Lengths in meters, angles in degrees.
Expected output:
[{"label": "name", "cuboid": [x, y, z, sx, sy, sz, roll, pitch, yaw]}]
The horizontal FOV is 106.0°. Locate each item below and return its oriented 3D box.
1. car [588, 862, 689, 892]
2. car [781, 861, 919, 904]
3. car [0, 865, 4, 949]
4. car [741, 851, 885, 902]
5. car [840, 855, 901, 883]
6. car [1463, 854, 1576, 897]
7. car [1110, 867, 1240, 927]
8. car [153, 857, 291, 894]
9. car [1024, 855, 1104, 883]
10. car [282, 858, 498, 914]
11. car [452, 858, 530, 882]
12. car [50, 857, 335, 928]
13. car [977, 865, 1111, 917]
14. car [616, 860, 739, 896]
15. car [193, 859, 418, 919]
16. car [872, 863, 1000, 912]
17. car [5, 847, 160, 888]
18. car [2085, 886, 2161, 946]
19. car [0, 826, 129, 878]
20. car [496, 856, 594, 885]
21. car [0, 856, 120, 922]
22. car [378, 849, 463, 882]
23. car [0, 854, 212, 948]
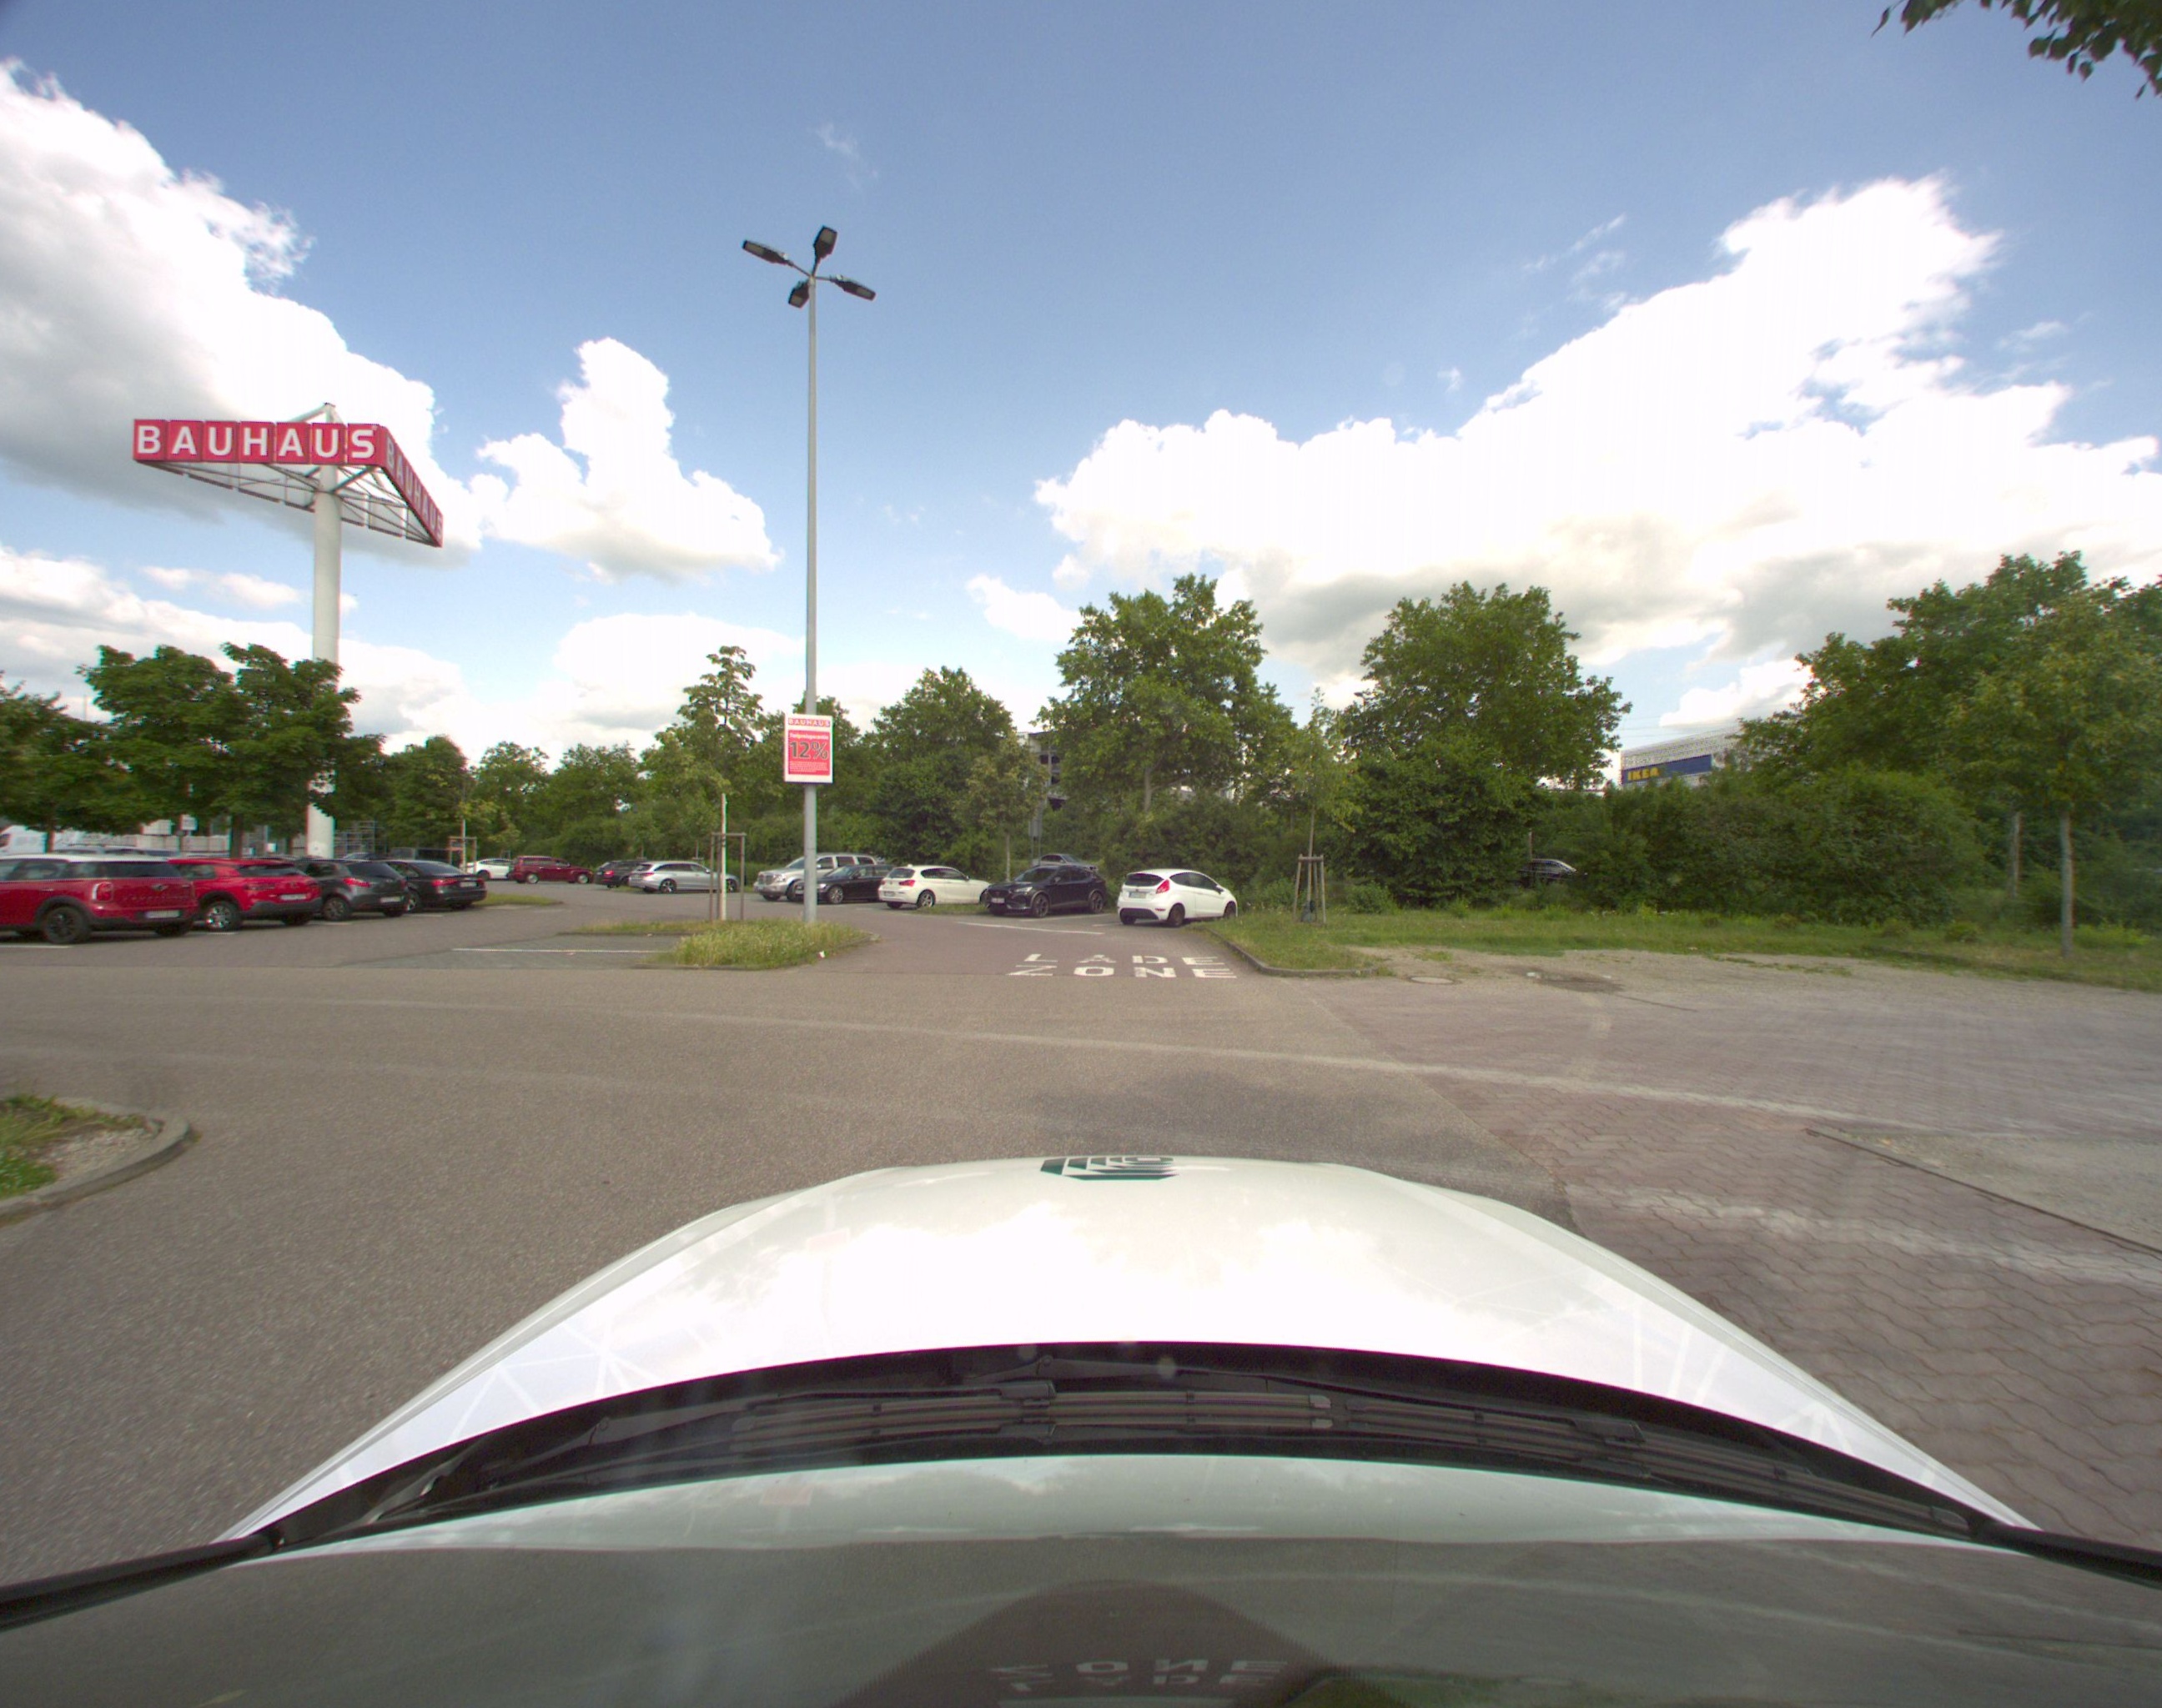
[{"label": "car", "cuboid": [-21.727, 1.180, 40.091, 1.677, 1.381, 4.025, -2, -3, 36]}, {"label": "car", "cuboid": [-8.487, 0.989, 30.247, 1.816, 1.451, 4.754, 0, 0, 38]}, {"label": "car", "cuboid": [-19.583, 0.848, 12.468, 3.858, 1.369, 1.729, 0, 0, 0]}, {"label": "car", "cuboid": [-10.403, 0.816, 31.991, 1.965, 1.842, 5.180, 0, 0, 36]}, {"label": "car", "cuboid": [-15.842, 1.127, 61.156, 4.438, 2.014, 1.930, -1, -3, 34]}, {"label": "car", "cuboid": [18.408, 0.861, 34.222, 3.948, 1.715, 2.013, 0, 0, 35]}, {"label": "car", "cuboid": [2.541, 1.060, 21.508, 1.649, 1.411, 3.579, 0, 0, 42]}, {"label": "car", "cuboid": [-35.266, 0.851, 33.513, 3.750, 1.446, 1.724, 1, 0, -2]}, {"label": "car", "cuboid": [-1.063, 0.876, 49.601, 4.682, 1.589, 1.759, 0, 0, 34]}, {"label": "car", "cuboid": [-18.884, 0.850, 22.371, 4.506, 1.433, 1.774, 0, -1, 4]}, {"label": "car", "cuboid": [-37.297, 1.034, 51.543, 1.613, 1.468, 3.667, -2, -2, 37]}, {"label": "car", "cuboid": [-18.674, 0.781, 17.251, 4.061, 1.399, 1.767, 0, 0, 0]}, {"label": "car", "cuboid": [-1.038, 1.044, 24.709, 1.711, 1.410, 4.269, 0, 0, 37]}, {"label": "car", "cuboid": [-18.206, 1.055, 36.918, 1.762, 1.504, 4.684, 0, 0, 37]}, {"label": "car", "cuboid": [-18.646, 0.812, 19.681, 3.971, 1.369, 1.580, 0, 0, 2]}, {"label": "car", "cuboid": [-4.790, 1.050, 27.292, 1.668, 1.510, 4.107, -1, -1, 40]}, {"label": "car", "cuboid": [-41.050, 0.540, 33.557, 3.973, 1.596, 1.910, 0, 0, 1]}, {"label": "car", "cuboid": [32.525, 1.804, 23.533, 3.948, 1.716, 2.012, -2, -4, 35]}, {"label": "car", "cuboid": [-52.267, -0.105, 41.681, 4.694, 2.510, 2.054, 1, -2, 3]}, {"label": "car", "cuboid": [-31.123, 0.942, 47.421, 1.974, 1.596, 4.348, 0, 0, 35]}, {"label": "car", "cuboid": [-24.424, 0.729, 17.913, 4.254, 1.353, 1.894, 0, 0, 0]}, {"label": "car", "cuboid": [-42.989, 0.785, 53.130, 1.930, 2.019, 4.065, 0, -2, 7]}, {"label": "car", "cuboid": [-18.331, 0.799, 14.699, 3.424, 1.581, 1.710, 0, 0, 0]}]
